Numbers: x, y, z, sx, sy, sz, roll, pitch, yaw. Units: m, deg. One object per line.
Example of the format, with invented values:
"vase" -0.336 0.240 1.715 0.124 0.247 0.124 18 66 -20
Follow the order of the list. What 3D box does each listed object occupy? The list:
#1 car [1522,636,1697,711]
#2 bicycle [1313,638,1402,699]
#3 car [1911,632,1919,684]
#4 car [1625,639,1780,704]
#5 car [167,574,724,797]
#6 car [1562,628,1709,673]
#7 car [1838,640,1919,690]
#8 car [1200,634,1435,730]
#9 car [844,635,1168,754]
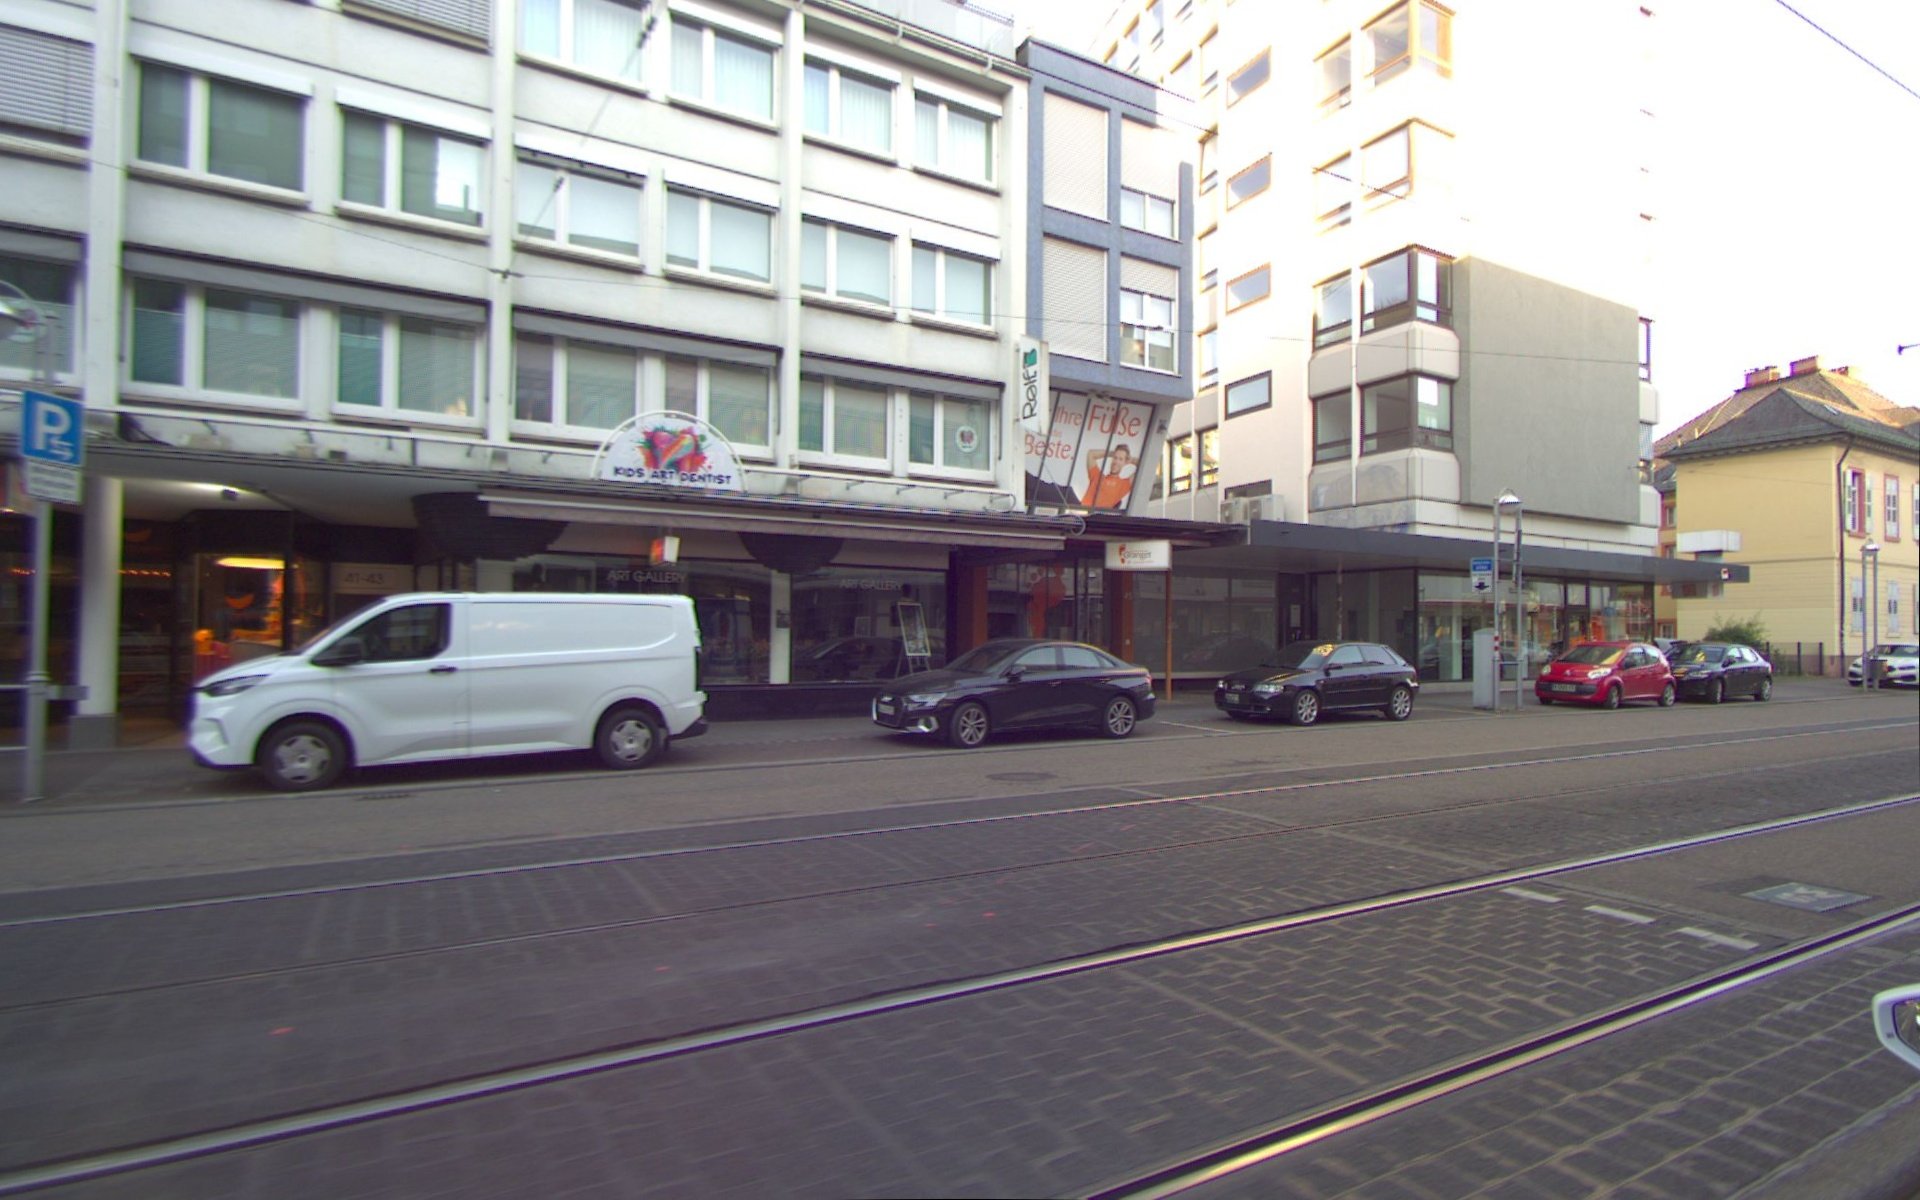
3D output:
"car" 15.113 1.644 23.321 4.165 1.532 1.677 2 1 -30
"bicycle" 9.769 1.657 24.748 0.825 1.444 1.958 1 -2 -31
"car" 35.885 2.111 35.554 4.440 1.809 1.805 2 1 -27
"car" 18.942 1.761 25.586 4.165 1.532 1.678 2 -2 -30
"car" -5.425 0.858 11.210 5.104 2.003 1.945 2 -2 -32
"car" 23.850 1.766 35.623 1.823 1.486 3.972 1 -2 -28
"car" 30.872 2.079 32.889 4.378 1.532 1.805 1 -2 -29
"car" 6.583 1.421 18.361 4.396 1.532 1.677 2 -1 -32
"car" 0.744 1.298 14.977 4.507 1.485 1.983 2 -1 -31
